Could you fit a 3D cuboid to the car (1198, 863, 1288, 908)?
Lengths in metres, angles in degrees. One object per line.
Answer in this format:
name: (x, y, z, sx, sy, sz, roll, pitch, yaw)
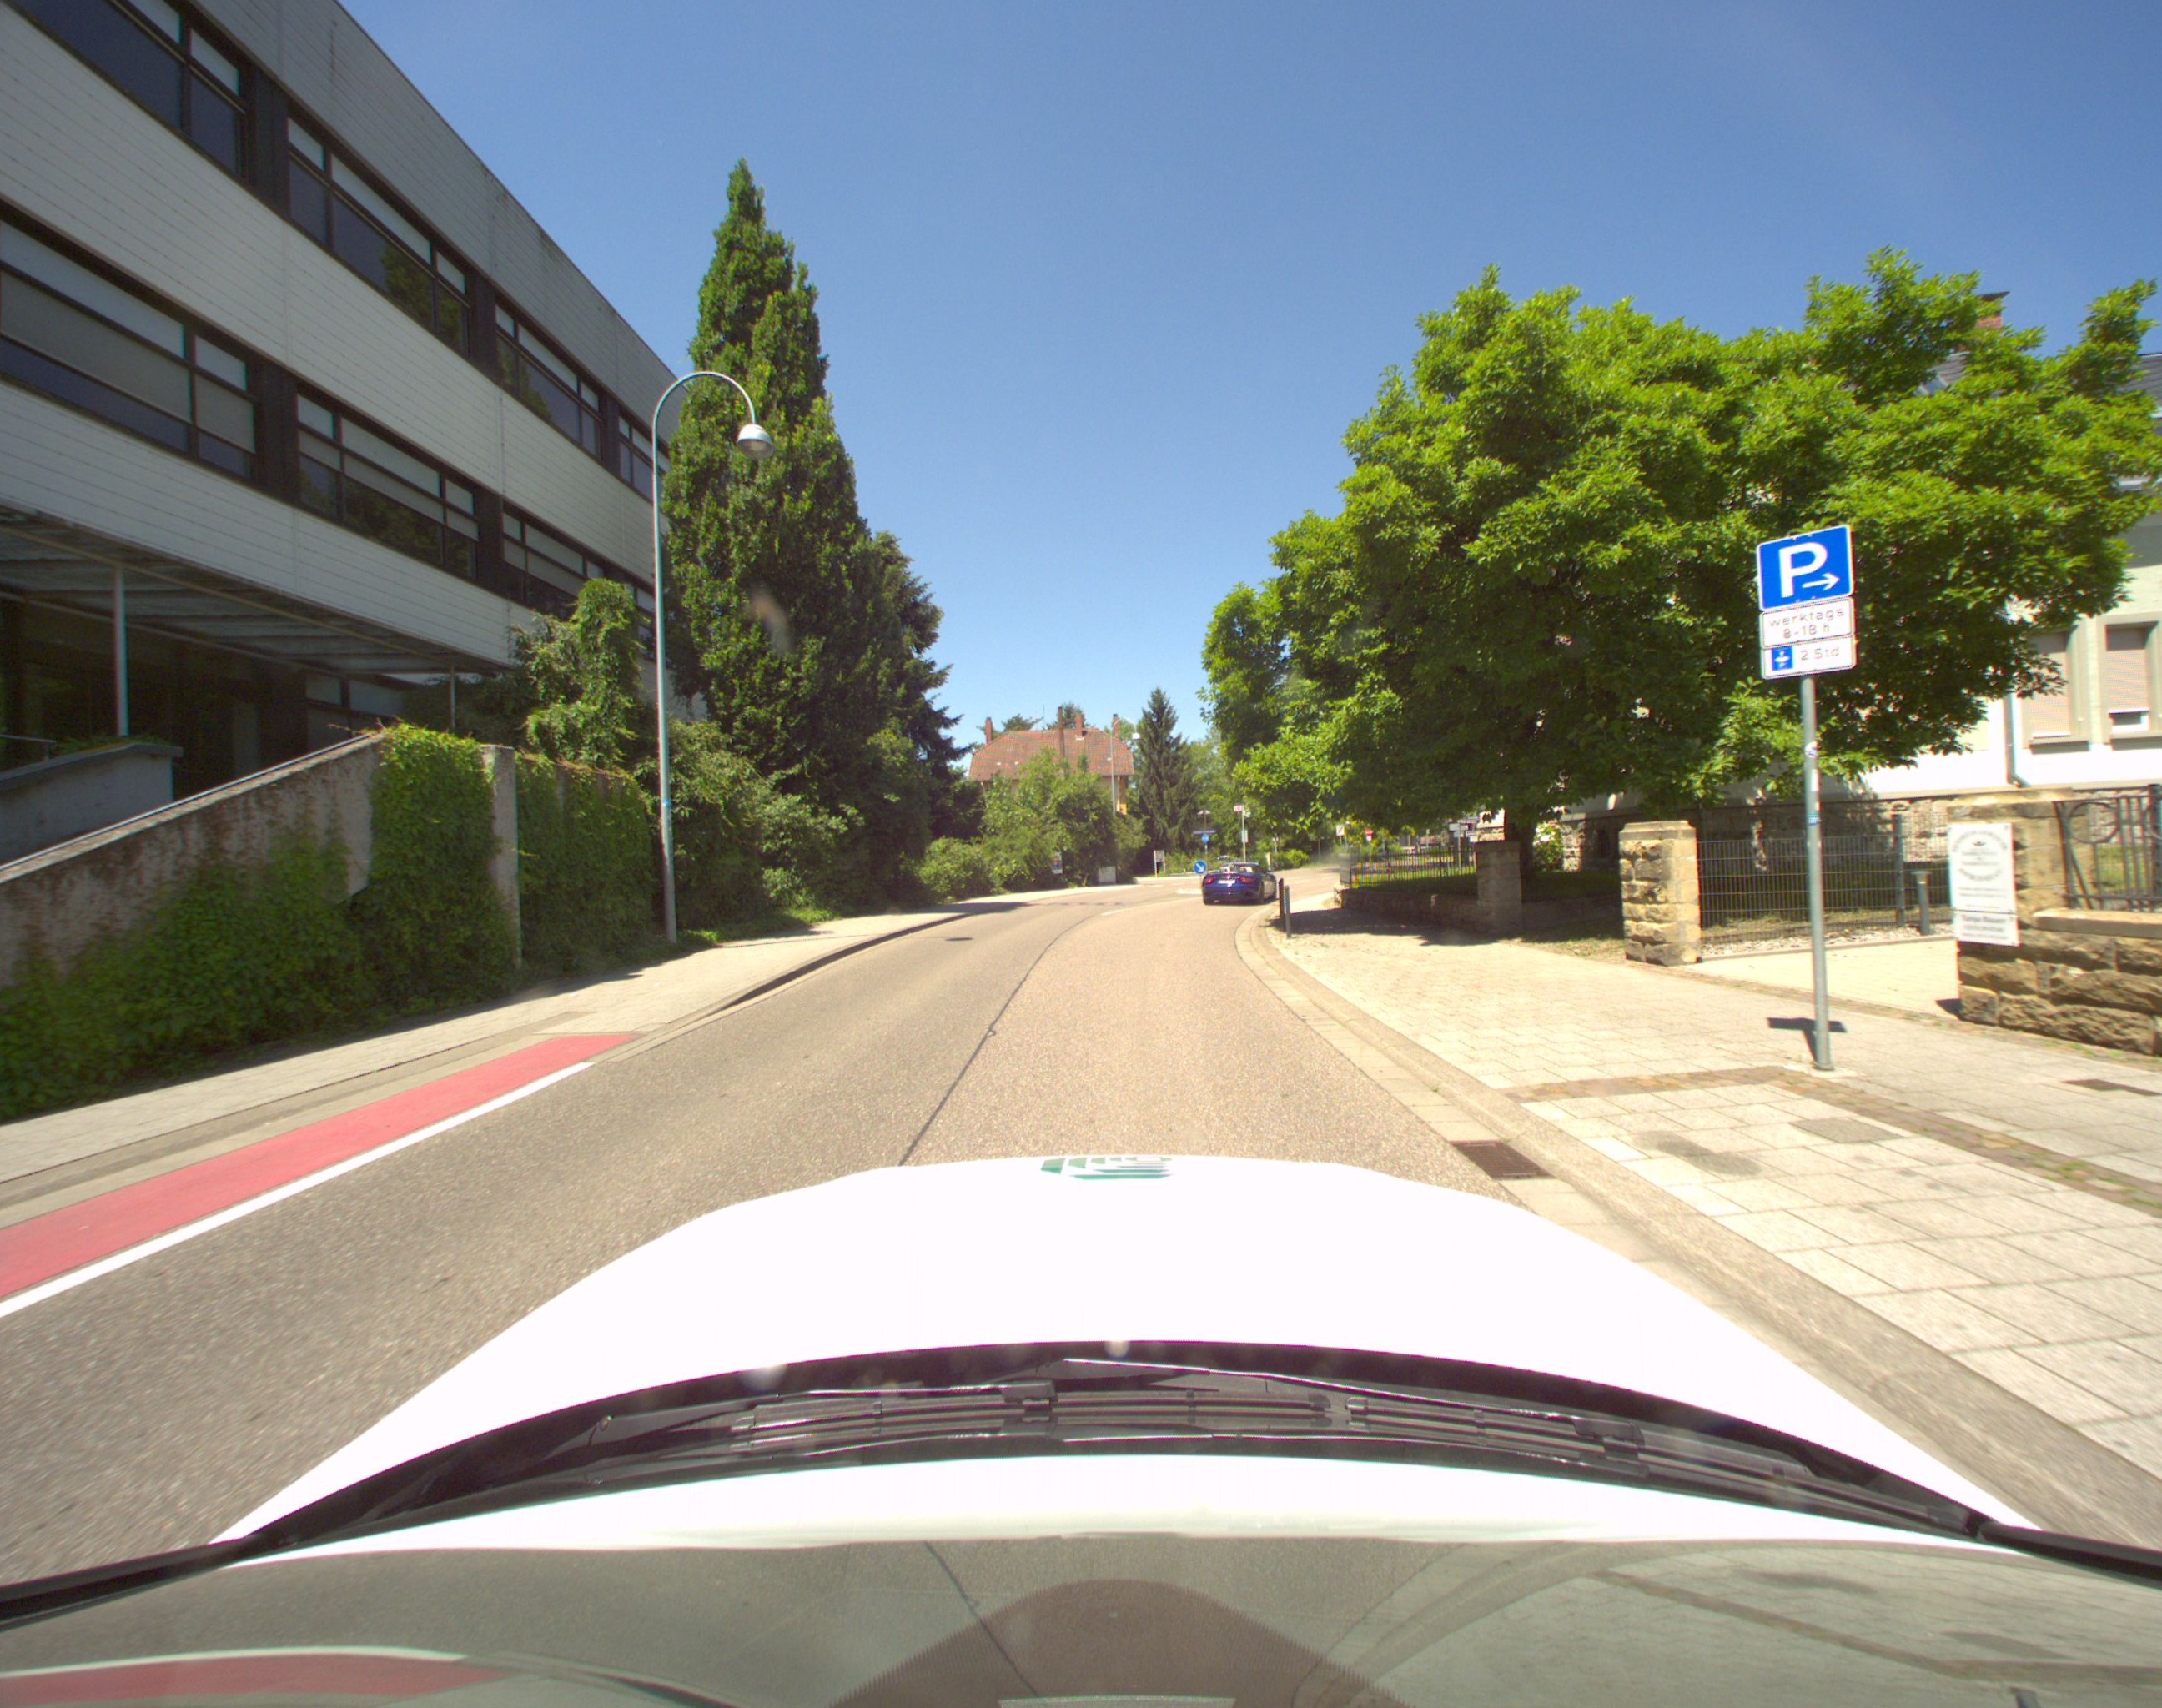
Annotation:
car: (5.509, 0.993, 27.244, 1.810, 1.337, 4.727, 0, 0, 26)
